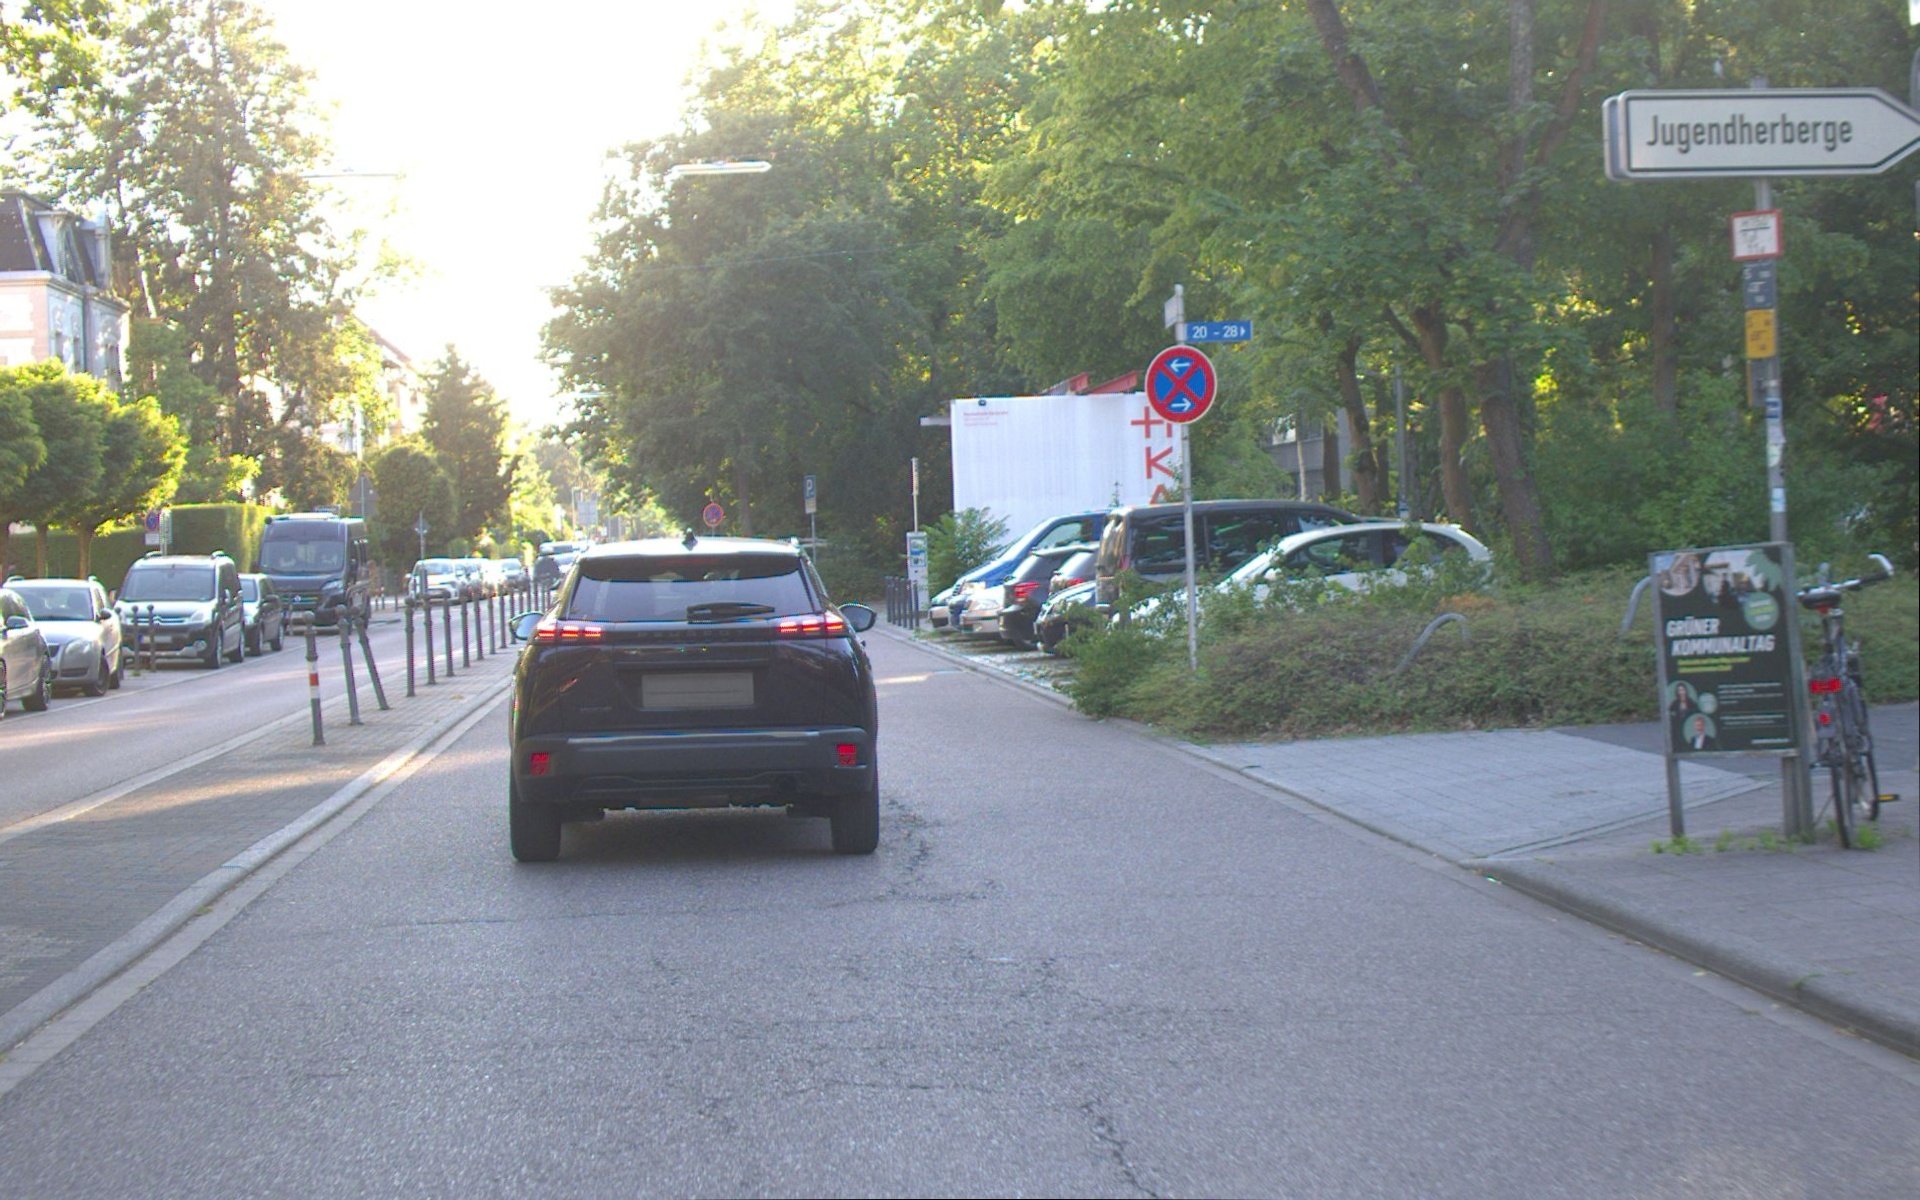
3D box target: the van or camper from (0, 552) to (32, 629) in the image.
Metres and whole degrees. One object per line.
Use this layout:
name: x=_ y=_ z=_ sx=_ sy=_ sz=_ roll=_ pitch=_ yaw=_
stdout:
van or camper: x=-28.745 y=-0.205 z=96.579 sx=4.768 sy=1.979 sz=2.001 roll=-2 pitch=5 yaw=-2

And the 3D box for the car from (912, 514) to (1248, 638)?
car: x=1.826 y=-0.379 z=53.319 sx=4.926 sy=1.548 sz=1.916 roll=-4 pitch=1 yaw=-5

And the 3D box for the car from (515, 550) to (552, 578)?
car: x=-24.529 y=-2.092 z=197.740 sx=1.899 sy=1.568 sz=4.001 roll=-2 pitch=1 yaw=-5

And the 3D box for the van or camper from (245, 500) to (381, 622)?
van or camper: x=-14.081 y=-0.857 z=75.231 sx=2.229 sy=2.536 sz=7.081 roll=0 pitch=1 yaw=-5

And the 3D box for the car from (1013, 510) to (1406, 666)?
car: x=2.945 y=-0.162 z=41.208 sx=4.362 sy=1.532 sz=1.921 roll=-4 pitch=1 yaw=-5

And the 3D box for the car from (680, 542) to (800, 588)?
car: x=-8.129 y=-1.302 z=126.776 sx=4.242 sy=1.444 sz=2.022 roll=-3 pitch=1 yaw=-6

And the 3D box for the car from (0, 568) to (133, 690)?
car: x=-11.987 y=0.350 z=45.496 sx=1.718 sy=1.491 sz=4.378 roll=-1 pitch=1 yaw=-10

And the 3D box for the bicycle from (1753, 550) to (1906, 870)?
bicycle: x=3.717 y=0.421 z=14.600 sx=0.492 sy=1.144 sz=2.284 roll=-5 pitch=2 yaw=16

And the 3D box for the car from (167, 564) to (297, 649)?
car: x=-13.070 y=0.097 z=61.866 sx=1.696 sy=1.465 sz=3.855 roll=0 pitch=1 yaw=-3

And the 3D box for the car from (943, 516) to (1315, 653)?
car: x=2.342 y=-0.235 z=48.478 sx=4.926 sy=1.548 sz=1.916 roll=-4 pitch=1 yaw=-5

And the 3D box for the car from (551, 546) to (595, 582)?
car: x=-16.809 y=-1.578 z=149.439 sx=1.740 sy=1.453 sz=4.625 roll=-3 pitch=1 yaw=-5

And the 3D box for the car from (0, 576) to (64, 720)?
car: x=-11.162 y=0.521 z=38.088 sx=1.617 sy=1.491 sz=4.378 roll=-1 pitch=1 yaw=-5

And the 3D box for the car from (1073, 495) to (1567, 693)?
car: x=3.402 y=-0.077 z=32.953 sx=4.362 sy=1.548 sz=1.728 roll=-4 pitch=1 yaw=-5

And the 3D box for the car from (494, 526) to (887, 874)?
car: x=-1.388 y=0.411 z=17.795 sx=1.771 sy=1.563 sz=4.109 roll=-1 pitch=1 yaw=-4

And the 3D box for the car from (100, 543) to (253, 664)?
car: x=-12.671 y=0.025 z=55.815 sx=1.777 sy=1.859 sz=4.333 roll=0 pitch=1 yaw=-4

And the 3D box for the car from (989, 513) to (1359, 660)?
car: x=2.679 y=-0.186 z=43.697 sx=4.362 sy=1.532 sz=1.921 roll=-4 pitch=1 yaw=-5

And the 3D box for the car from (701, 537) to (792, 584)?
car: x=-9.844 y=-1.826 z=158.504 sx=3.986 sy=2.082 sz=1.758 roll=-2 pitch=1 yaw=-9

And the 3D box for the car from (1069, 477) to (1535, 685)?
car: x=3.455 y=-0.208 z=35.211 sx=4.362 sy=1.774 sz=1.921 roll=-4 pitch=1 yaw=-5

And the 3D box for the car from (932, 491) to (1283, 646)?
car: x=2.139 y=-0.478 z=50.786 sx=4.851 sy=1.909 sz=1.916 roll=-4 pitch=1 yaw=-5

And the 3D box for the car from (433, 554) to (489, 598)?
car: x=-17.558 y=-0.859 z=121.041 sx=1.613 sy=1.461 sz=4.036 roll=-2 pitch=1 yaw=-4

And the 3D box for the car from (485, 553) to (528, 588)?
car: x=-20.223 y=-1.324 z=153.369 sx=1.752 sy=1.409 sz=3.765 roll=-4 pitch=1 yaw=-6

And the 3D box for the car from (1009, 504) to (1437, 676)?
car: x=2.856 y=-0.125 z=37.926 sx=4.362 sy=1.548 sz=1.876 roll=-4 pitch=1 yaw=-5

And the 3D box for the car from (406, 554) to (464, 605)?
car: x=-16.905 y=-0.665 z=110.783 sx=1.613 sy=1.510 sz=3.713 roll=-4 pitch=1 yaw=-6
